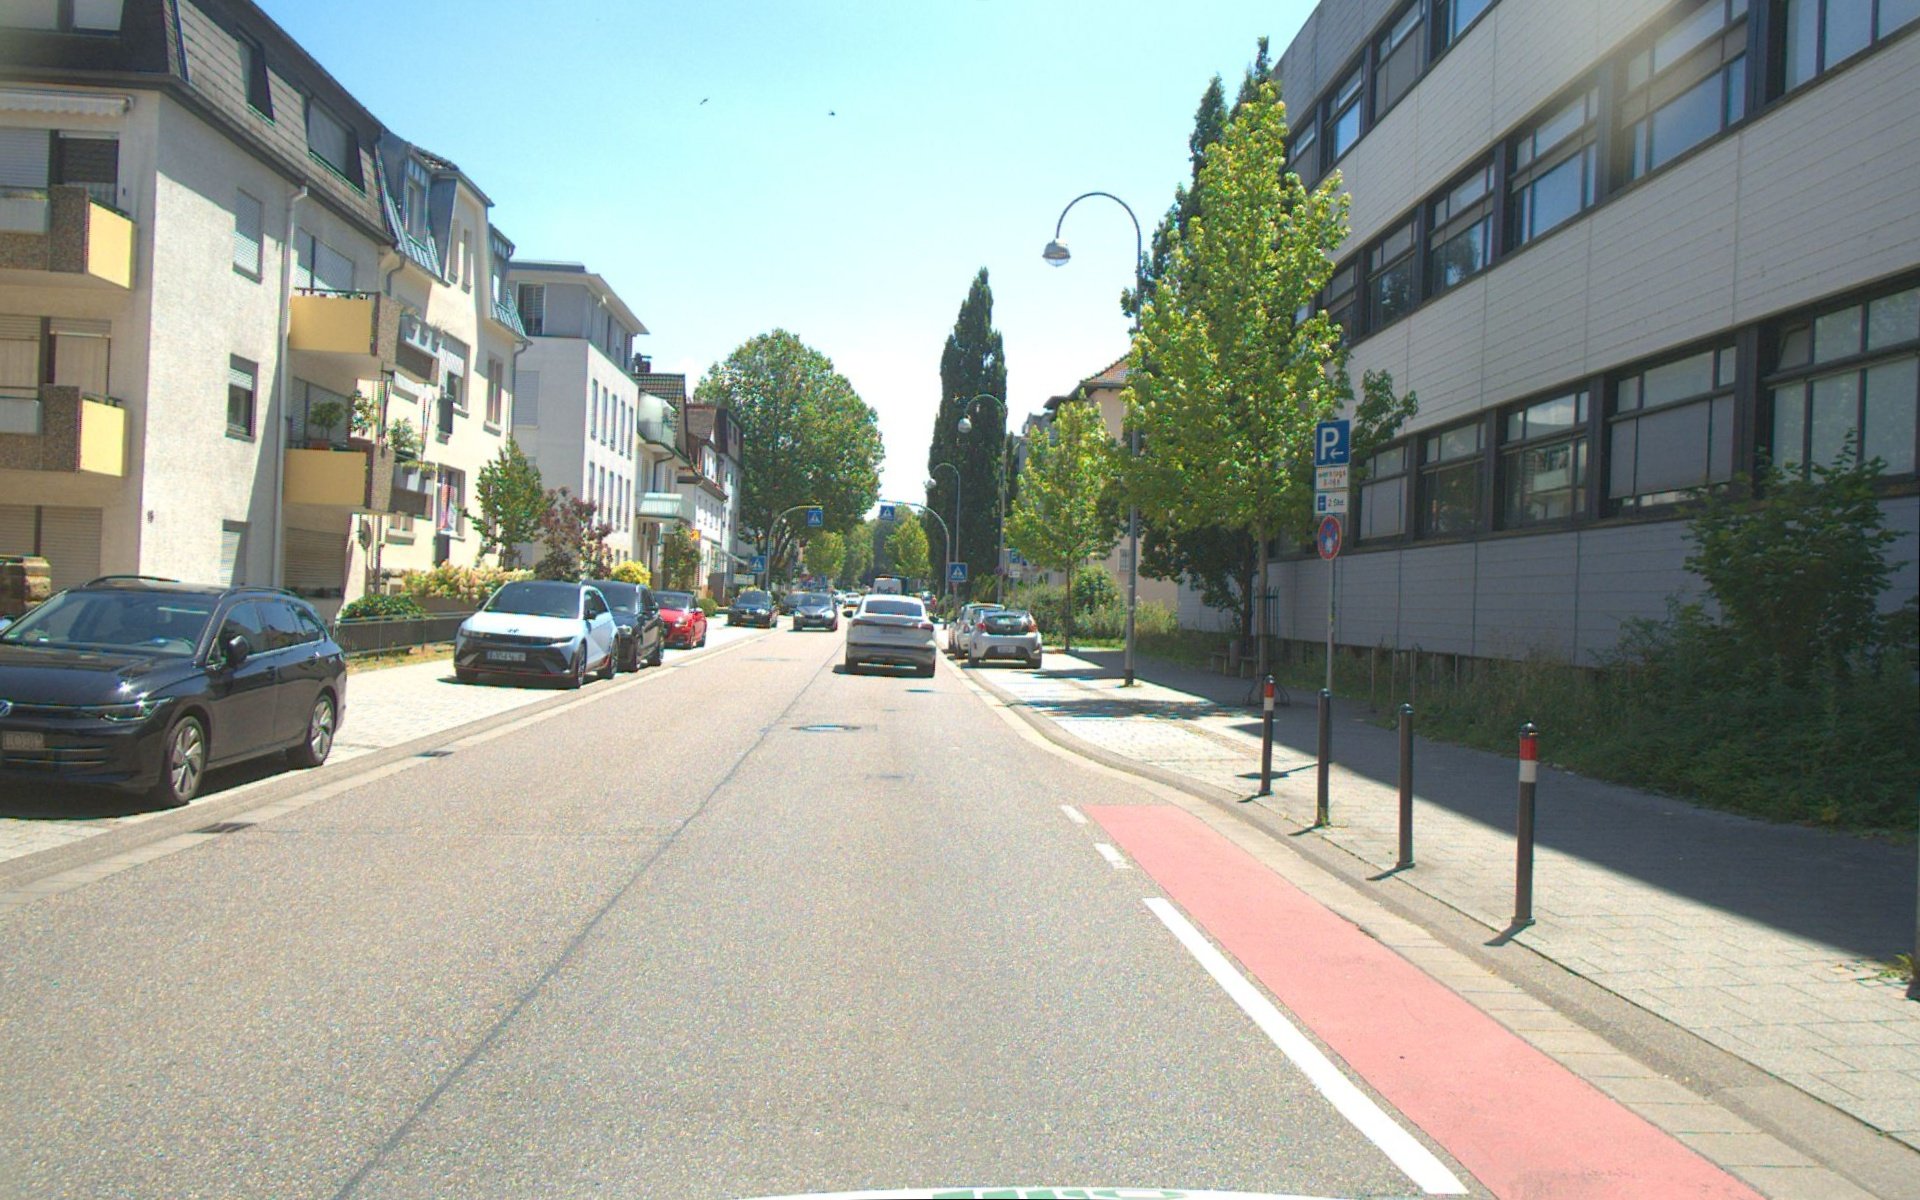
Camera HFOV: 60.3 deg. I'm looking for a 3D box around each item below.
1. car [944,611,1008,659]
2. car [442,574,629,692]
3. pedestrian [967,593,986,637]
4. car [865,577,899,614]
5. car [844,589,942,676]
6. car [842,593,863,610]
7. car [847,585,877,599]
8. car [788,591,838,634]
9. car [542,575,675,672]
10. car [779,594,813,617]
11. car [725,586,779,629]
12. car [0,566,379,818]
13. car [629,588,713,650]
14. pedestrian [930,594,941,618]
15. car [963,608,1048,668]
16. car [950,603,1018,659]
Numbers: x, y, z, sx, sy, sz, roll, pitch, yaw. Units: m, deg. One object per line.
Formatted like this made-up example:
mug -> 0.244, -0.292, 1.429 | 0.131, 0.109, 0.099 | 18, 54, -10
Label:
car -> 0.461, 1.064, 52.193 | 1.691, 1.407, 4.399 | 1, 0, -3
car -> -6.806, 0.501, 27.046 | 1.888, 1.600, 4.657 | 5, 0, -2
pedestrian -> 0.667, 0.607, 67.059 | 0.625, 1.789, 0.616 | 2, -1, -7
car -> -5.007, -0.277, 105.130 | 2.029, 2.235, 5.133 | 1, 0, -4
car -> -1.450, 0.668, 35.835 | 1.897, 1.642, 4.469 | 4, 0, -2
car -> -10.409, 0.107, 160.105 | 1.939, 1.546, 3.997 | 2, 0, -4
car -> -13.627, -1.116, 229.674 | 3.903, 1.680, 2.001 | 2, 0, 4
car -> -6.204, 0.522, 70.265 | 1.935, 1.700, 4.468 | 2, 0, -4
car -> -6.891, 0.451, 32.910 | 1.691, 1.647, 4.569 | 5, 0, -2
car -> -10.413, 0.350, 105.155 | 1.954, 1.373, 3.997 | 2, 0, -4
car -> -8.952, 0.327, 71.470 | 1.887, 1.750, 4.469 | 2, 0, -2
car -> -6.202, 0.562, 12.676 | 1.888, 1.461, 4.657 | 5, 0, -2
car -> -7.703, 0.493, 44.328 | 1.617, 1.443, 3.903 | 5, 0, -3
pedestrian -> -1.873, 0.452, 125.656 | 0.680, 1.767, 0.667 | 2, -1, -7
car -> 1.102, 0.927, 41.595 | 1.825, 1.397, 3.998 | 0, 0, -3
car -> 0.651, 0.854, 47.447 | 1.625, 1.514, 4.342 | 1, 0, -3
